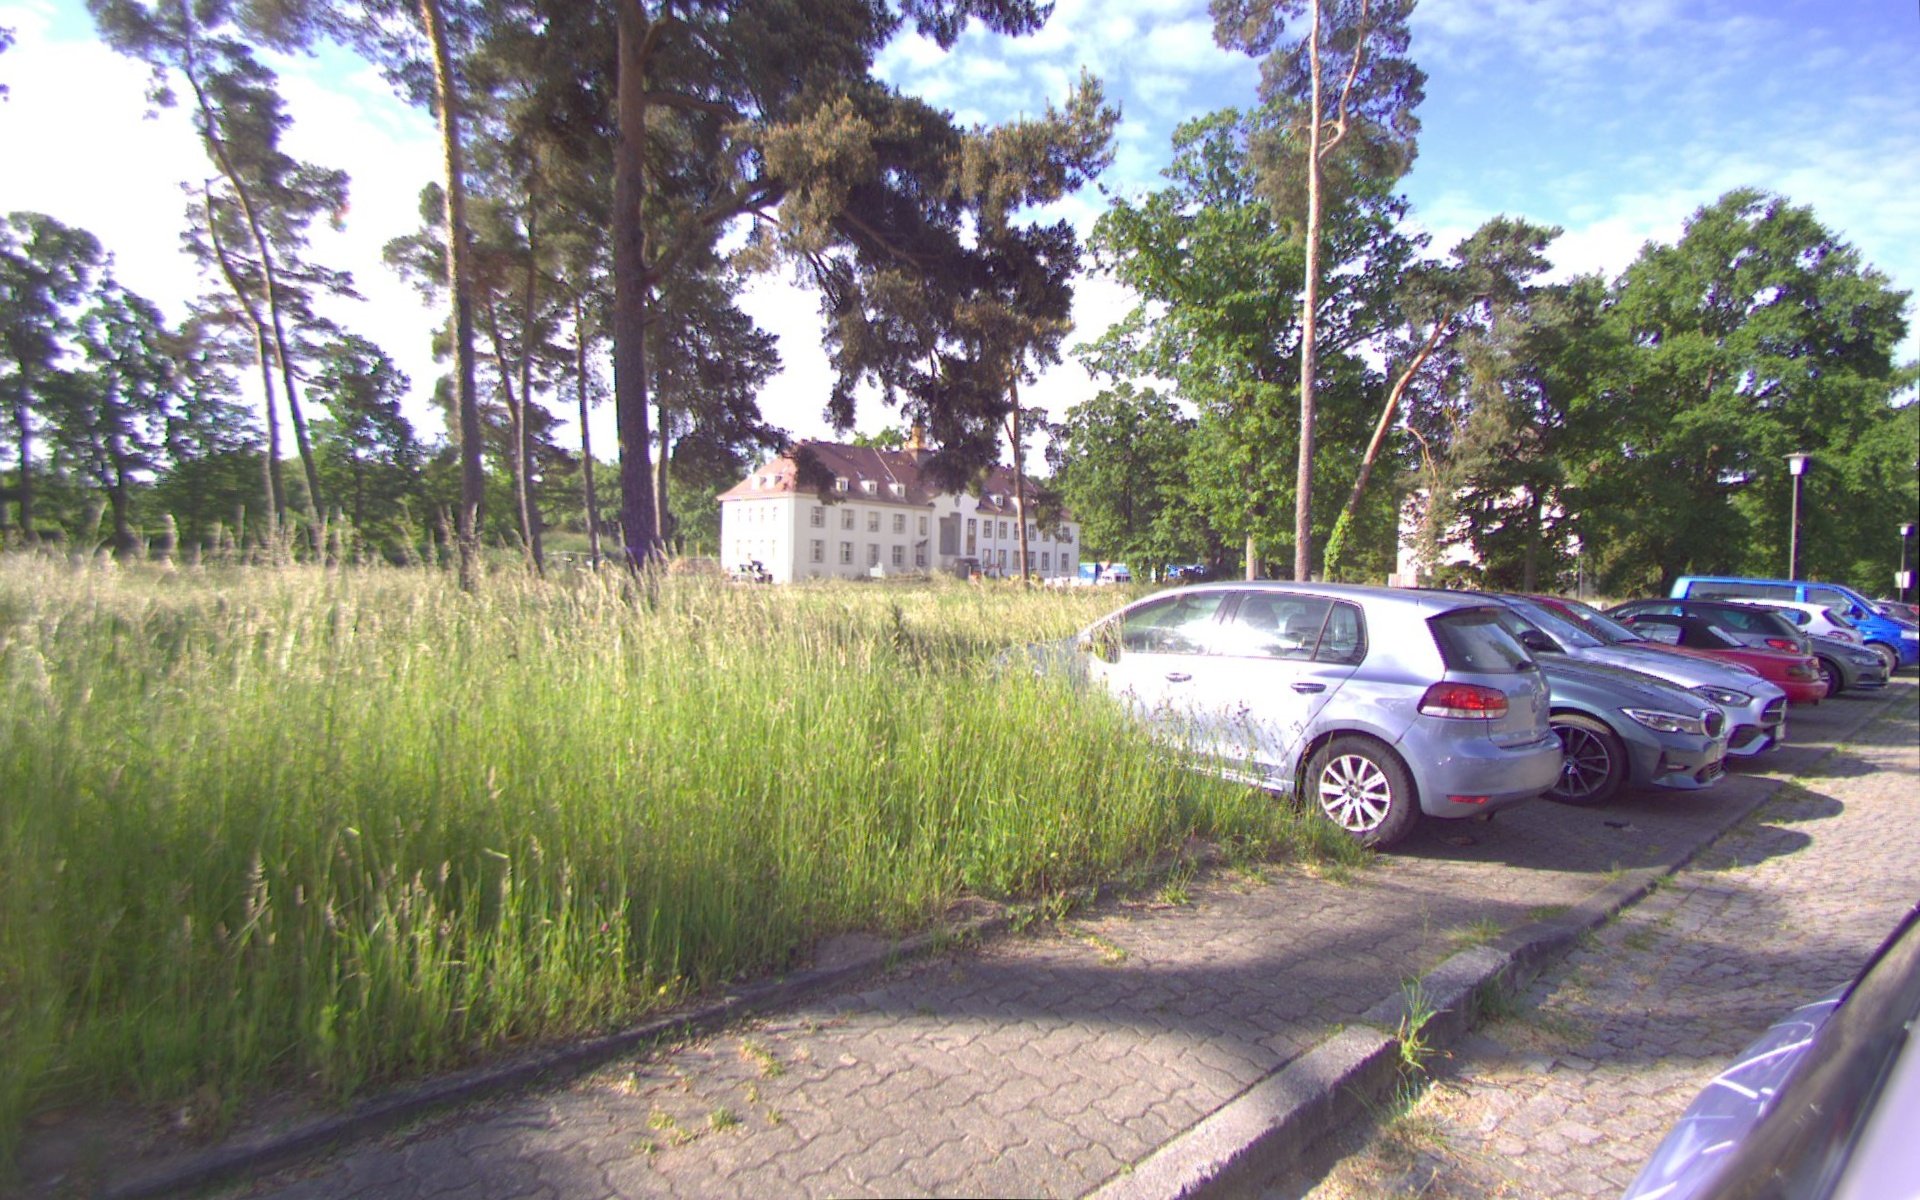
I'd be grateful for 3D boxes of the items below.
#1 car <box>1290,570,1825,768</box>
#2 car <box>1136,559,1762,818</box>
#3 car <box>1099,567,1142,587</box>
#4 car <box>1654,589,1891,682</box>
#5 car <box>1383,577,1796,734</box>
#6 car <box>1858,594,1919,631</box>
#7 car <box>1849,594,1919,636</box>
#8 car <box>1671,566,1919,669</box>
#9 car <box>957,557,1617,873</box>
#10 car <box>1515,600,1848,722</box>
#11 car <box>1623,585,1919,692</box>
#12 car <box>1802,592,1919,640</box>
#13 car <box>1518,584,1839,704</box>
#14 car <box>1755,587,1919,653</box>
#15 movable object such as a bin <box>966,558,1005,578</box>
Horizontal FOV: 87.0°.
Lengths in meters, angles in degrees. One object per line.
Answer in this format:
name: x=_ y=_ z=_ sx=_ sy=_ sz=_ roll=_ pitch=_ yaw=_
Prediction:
car: x=5.940 y=0.518 z=10.523 sx=1.795 sy=1.419 sz=4.419 roll=0 pitch=4 yaw=-43
car: x=3.923 y=0.503 z=8.746 sx=4.498 sy=1.535 sz=1.797 roll=5 pitch=3 yaw=45
car: x=17.162 y=-2.475 z=108.316 sx=4.690 sy=2.038 sz=1.997 roll=0 pitch=2 yaw=-42
car: x=15.359 y=0.604 z=19.255 sx=1.423 sy=1.509 sz=3.264 roll=0 pitch=2 yaw=-40
car: x=7.433 y=0.534 z=12.252 sx=1.633 sy=1.410 sz=3.914 roll=0 pitch=3 yaw=-42
car: x=43.608 y=0.572 z=45.946 sx=1.725 sy=1.635 sz=3.997 roll=-1 pitch=0 yaw=-38
car: x=40.347 y=0.626 z=42.729 sx=1.725 sy=1.763 sz=3.996 roll=0 pitch=0 yaw=-39
car: x=19.209 y=0.318 z=22.896 sx=1.965 sy=2.038 sz=4.725 roll=0 pitch=2 yaw=-40
car: x=2.016 y=0.510 z=7.131 sx=1.839 sy=1.478 sz=4.022 roll=0 pitch=3 yaw=-42
car: x=9.430 y=0.706 z=13.400 sx=1.396 sy=1.271 sz=3.353 roll=0 pitch=2 yaw=-42
car: x=13.543 y=0.557 z=17.077 sx=1.478 sy=1.509 sz=3.630 roll=1 pitch=2 yaw=-32
car: x=32.830 y=0.558 z=36.115 sx=1.725 sy=1.537 sz=3.997 roll=0 pitch=2 yaw=-39
car: x=10.925 y=0.570 z=15.578 sx=1.523 sy=1.509 sz=3.775 roll=0 pitch=2 yaw=-42
car: x=25.527 y=0.522 z=29.005 sx=1.725 sy=1.660 sz=3.997 roll=0 pitch=2 yaw=-39
movable object such as a bin: x=3.135 y=-3.932 z=125.336 sx=1.994 sy=2.351 sz=4.908 roll=3 pitch=2 yaw=44
